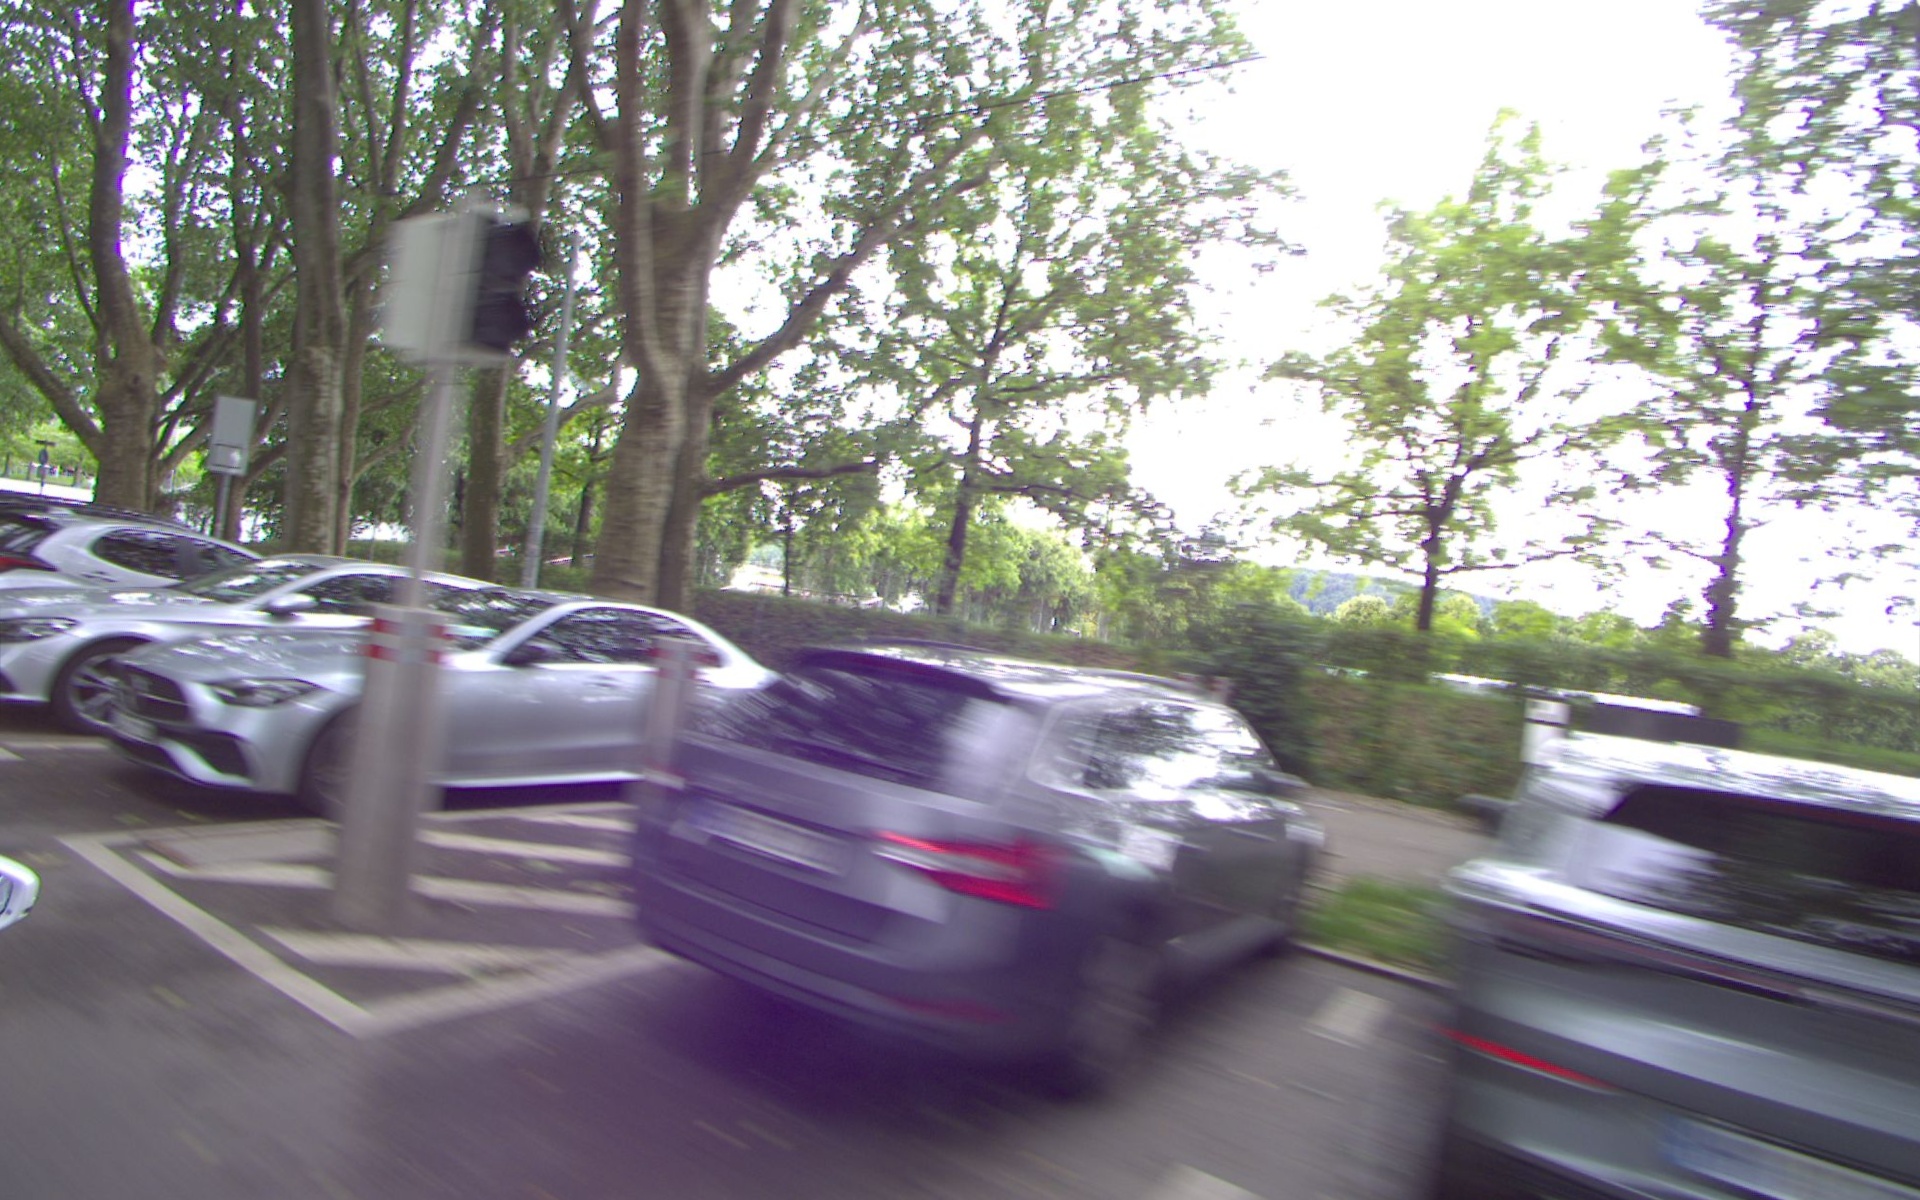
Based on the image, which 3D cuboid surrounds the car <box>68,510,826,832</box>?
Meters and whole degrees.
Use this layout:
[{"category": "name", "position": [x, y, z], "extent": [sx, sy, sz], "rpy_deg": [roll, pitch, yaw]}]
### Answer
[{"category": "car", "position": [-3.133, 0.576, 7.302], "extent": [1.622, 1.486, 4.626], "rpy_deg": [7, -3, 31]}]

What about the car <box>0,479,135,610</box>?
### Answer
[{"category": "car", "position": [-14.062, -0.992, 13.448], "extent": [1.823, 1.614, 4.180], "rpy_deg": [7, -3, 28]}]

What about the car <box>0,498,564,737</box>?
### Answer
[{"category": "car", "position": [-5.715, 0.257, 8.431], "extent": [1.596, 1.486, 4.311], "rpy_deg": [7, -3, 28]}]

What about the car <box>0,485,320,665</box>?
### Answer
[{"category": "car", "position": [-9.830, -0.297, 11.427], "extent": [1.789, 1.615, 3.788], "rpy_deg": [7, -3, 28]}]

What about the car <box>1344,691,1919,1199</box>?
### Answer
[{"category": "car", "position": [2.639, 1.264, 3.619], "extent": [1.639, 1.486, 3.785], "rpy_deg": [7, -3, 31]}]

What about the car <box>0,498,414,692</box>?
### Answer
[{"category": "car", "position": [-7.863, 0.007, 10.101], "extent": [1.596, 1.486, 3.788], "rpy_deg": [7, -3, 28]}]

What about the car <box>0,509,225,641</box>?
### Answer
[{"category": "car", "position": [-11.848, -0.401, 12.773], "extent": [1.493, 1.386, 3.657], "rpy_deg": [7, -3, 28]}]

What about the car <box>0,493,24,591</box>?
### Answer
[{"category": "car", "position": [-18.197, -1.288, 16.563], "extent": [1.493, 1.685, 3.657], "rpy_deg": [7, -3, 28]}]

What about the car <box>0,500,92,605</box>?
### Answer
[{"category": "car", "position": [-16.182, -0.979, 15.605], "extent": [1.615, 1.536, 3.657], "rpy_deg": [7, -3, 28]}]

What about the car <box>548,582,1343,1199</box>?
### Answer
[{"category": "car", "position": [0.513, 1.017, 4.799], "extent": [1.596, 1.486, 4.378], "rpy_deg": [7, -3, 31]}]
